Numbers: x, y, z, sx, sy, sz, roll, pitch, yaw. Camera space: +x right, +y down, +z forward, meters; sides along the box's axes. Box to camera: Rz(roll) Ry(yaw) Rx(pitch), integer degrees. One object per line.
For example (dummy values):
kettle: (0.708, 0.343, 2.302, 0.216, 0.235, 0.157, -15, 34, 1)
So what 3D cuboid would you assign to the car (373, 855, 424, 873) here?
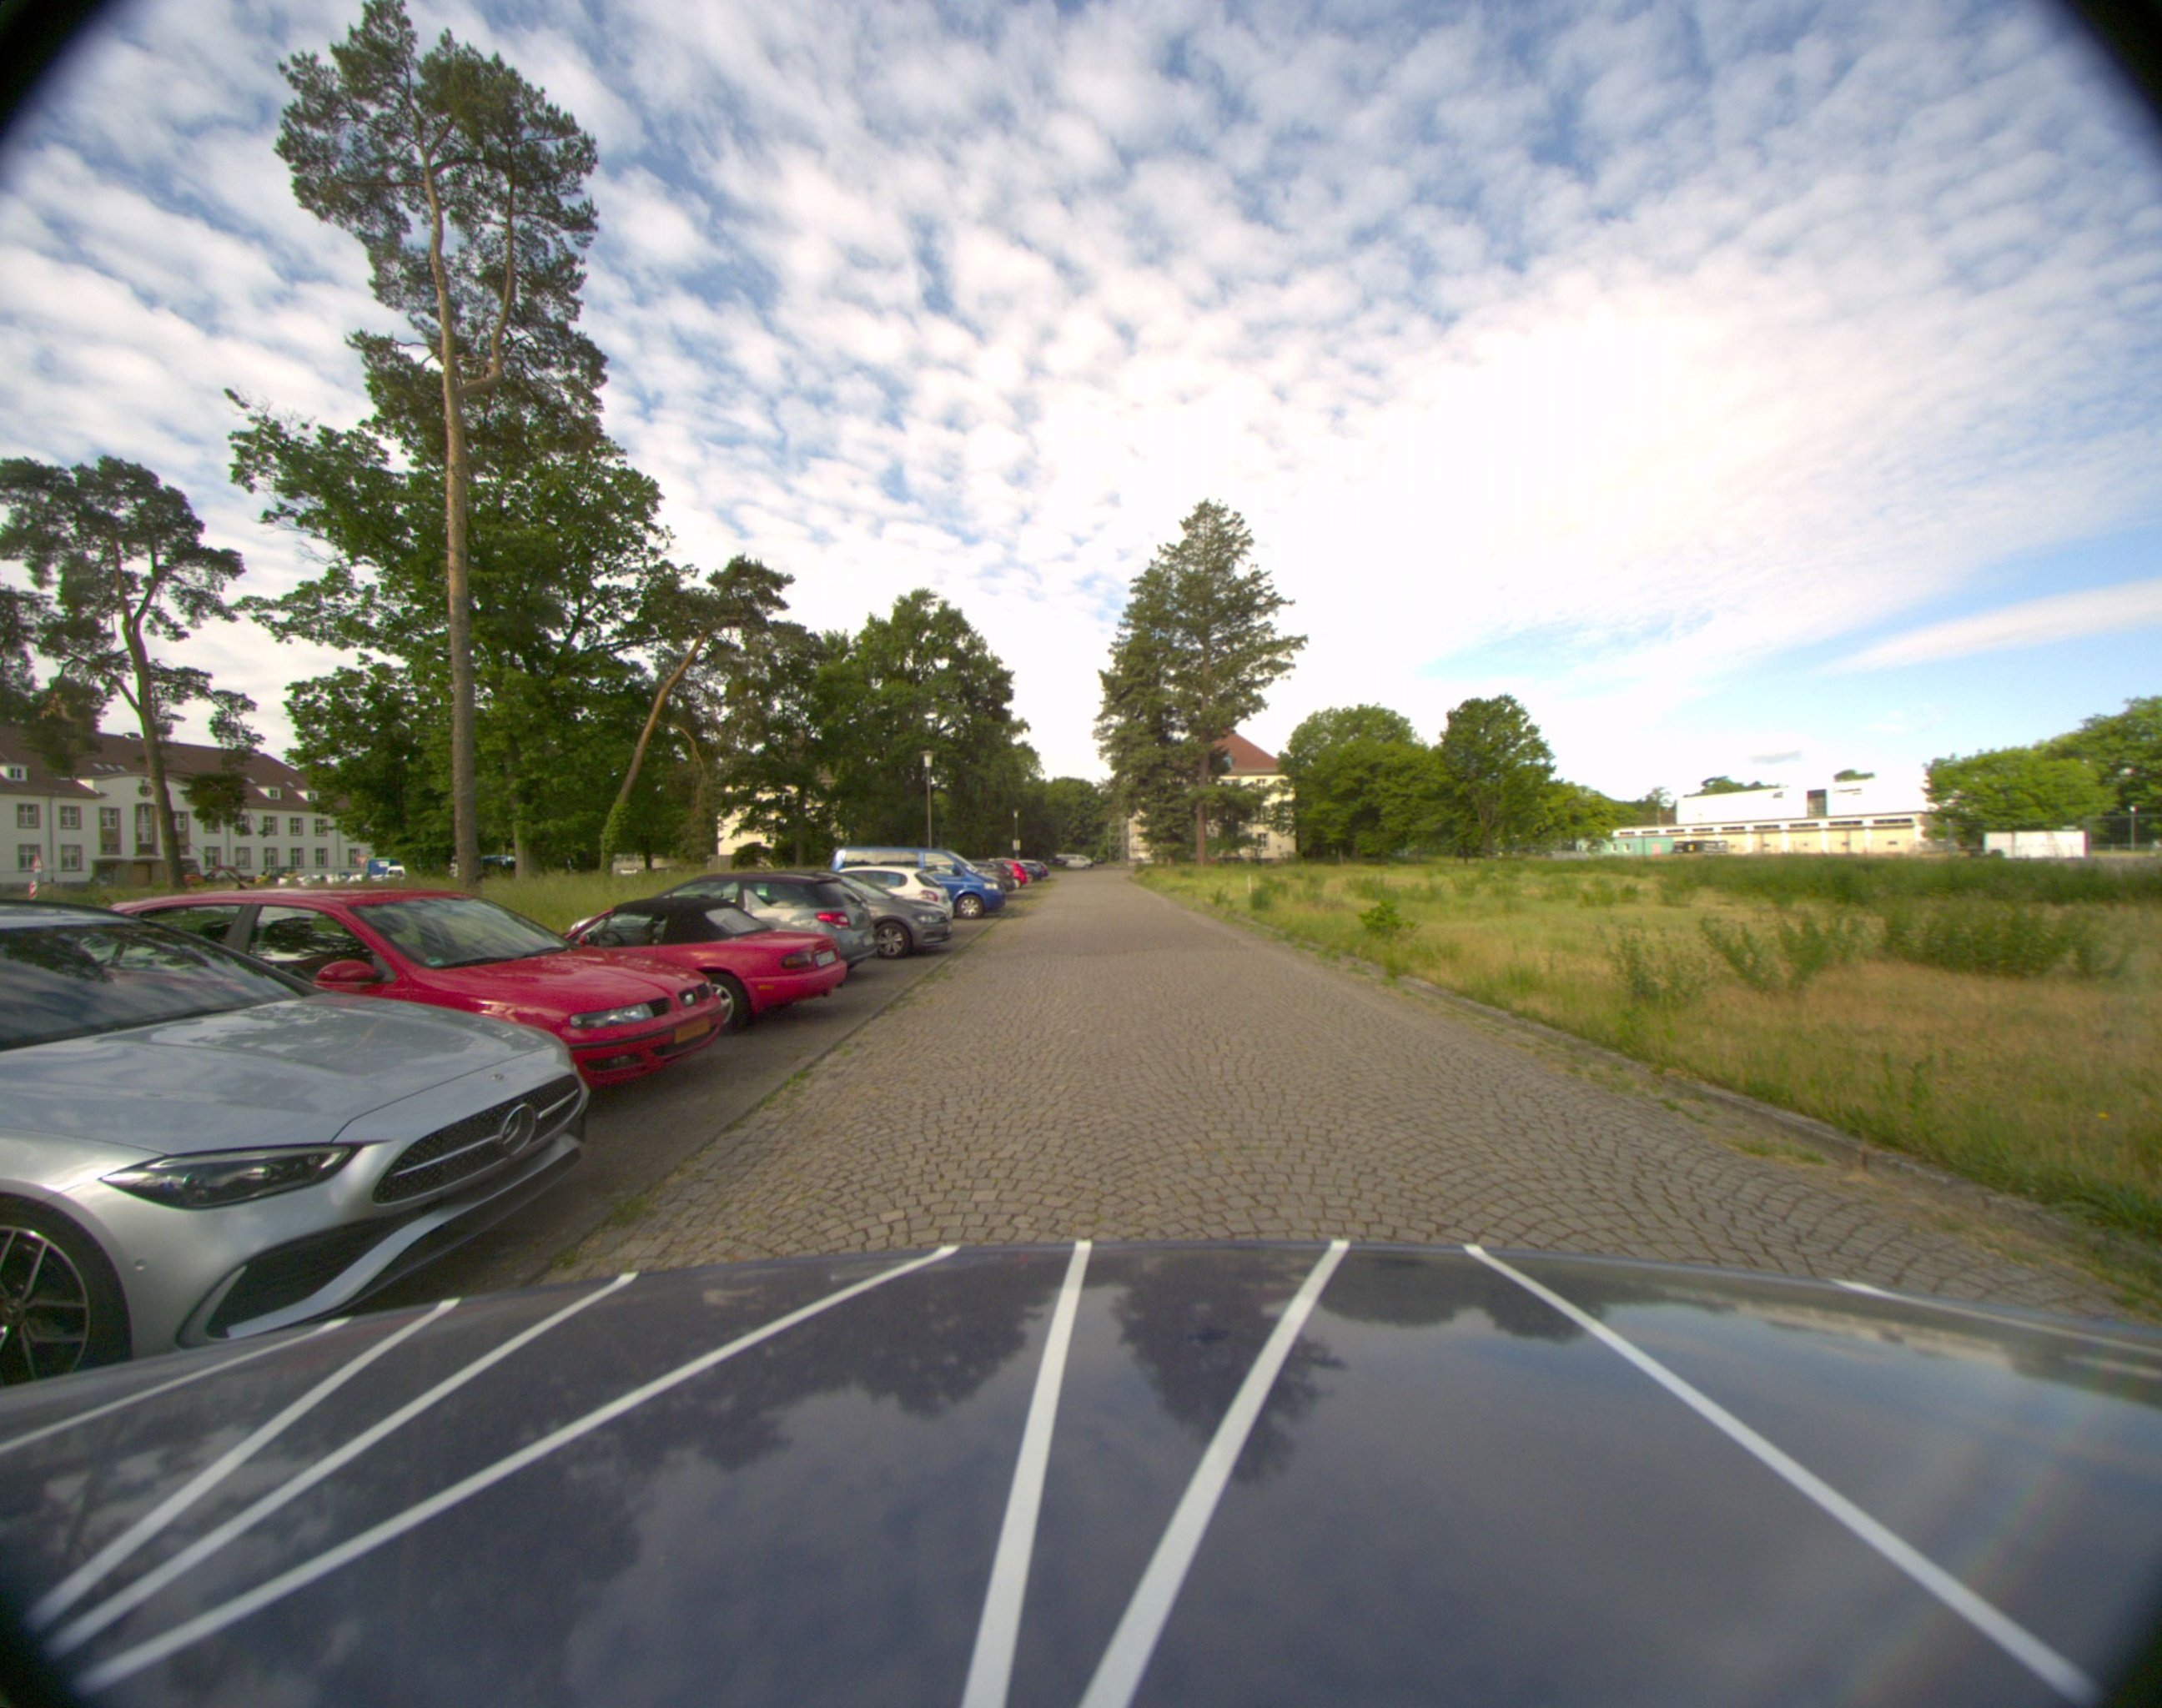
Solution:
car: (-81.415, 1.191, 90.669, 2.217, 2.002, 4.001, -1, 0, 5)

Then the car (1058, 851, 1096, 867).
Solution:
car: (-0.579, 0.671, 104.287, 5.130, 2.002, 1.804, -1, 0, -2)

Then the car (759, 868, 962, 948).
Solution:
car: (-4.547, 1.097, 15.987, 3.761, 1.490, 1.581, -1, 0, 2)

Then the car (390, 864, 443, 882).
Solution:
car: (-67.951, 1.921, 77.731, 1.847, 1.674, 3.937, 0, 0, 3)

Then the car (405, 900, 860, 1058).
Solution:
car: (-4.231, 1.159, 7.556, 3.555, 1.279, 1.608, -1, -1, 1)

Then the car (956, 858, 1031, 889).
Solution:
car: (-4.587, 1.021, 40.373, 3.839, 1.516, 1.580, -1, 0, -3)

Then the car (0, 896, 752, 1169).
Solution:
car: (-4.721, 1.087, 5.232, 4.118, 1.415, 1.719, -1, 0, 1)

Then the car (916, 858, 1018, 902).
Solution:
car: (-4.456, 1.012, 30.056, 3.839, 1.592, 1.581, -1, 0, -3)

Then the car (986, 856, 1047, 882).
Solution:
car: (-4.305, 1.003, 50.857, 3.836, 1.609, 1.582, -1, 0, 5)

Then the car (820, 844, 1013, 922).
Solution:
car: (-4.509, 0.777, 21.411, 4.954, 2.011, 2.060, 1, 0, 1)

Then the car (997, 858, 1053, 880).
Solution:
car: (-4.094, 1.090, 55.615, 3.836, 1.520, 1.674, -1, 0, 5)

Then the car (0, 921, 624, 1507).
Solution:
car: (-4.463, 1.063, 2.898, 4.337, 1.420, 1.766, 0, 0, -1)

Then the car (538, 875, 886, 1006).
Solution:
car: (-4.763, 1.091, 10.184, 3.837, 1.494, 1.604, -1, 0, 0)

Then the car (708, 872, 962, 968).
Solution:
car: (-4.100, 1.087, 13.052, 3.781, 1.457, 1.643, -1, 0, 2)

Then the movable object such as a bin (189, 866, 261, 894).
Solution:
movable object such as a bin: (-90.285, 2.697, 80.256, 1.999, 2.752, 5.201, -1, 0, -5)
